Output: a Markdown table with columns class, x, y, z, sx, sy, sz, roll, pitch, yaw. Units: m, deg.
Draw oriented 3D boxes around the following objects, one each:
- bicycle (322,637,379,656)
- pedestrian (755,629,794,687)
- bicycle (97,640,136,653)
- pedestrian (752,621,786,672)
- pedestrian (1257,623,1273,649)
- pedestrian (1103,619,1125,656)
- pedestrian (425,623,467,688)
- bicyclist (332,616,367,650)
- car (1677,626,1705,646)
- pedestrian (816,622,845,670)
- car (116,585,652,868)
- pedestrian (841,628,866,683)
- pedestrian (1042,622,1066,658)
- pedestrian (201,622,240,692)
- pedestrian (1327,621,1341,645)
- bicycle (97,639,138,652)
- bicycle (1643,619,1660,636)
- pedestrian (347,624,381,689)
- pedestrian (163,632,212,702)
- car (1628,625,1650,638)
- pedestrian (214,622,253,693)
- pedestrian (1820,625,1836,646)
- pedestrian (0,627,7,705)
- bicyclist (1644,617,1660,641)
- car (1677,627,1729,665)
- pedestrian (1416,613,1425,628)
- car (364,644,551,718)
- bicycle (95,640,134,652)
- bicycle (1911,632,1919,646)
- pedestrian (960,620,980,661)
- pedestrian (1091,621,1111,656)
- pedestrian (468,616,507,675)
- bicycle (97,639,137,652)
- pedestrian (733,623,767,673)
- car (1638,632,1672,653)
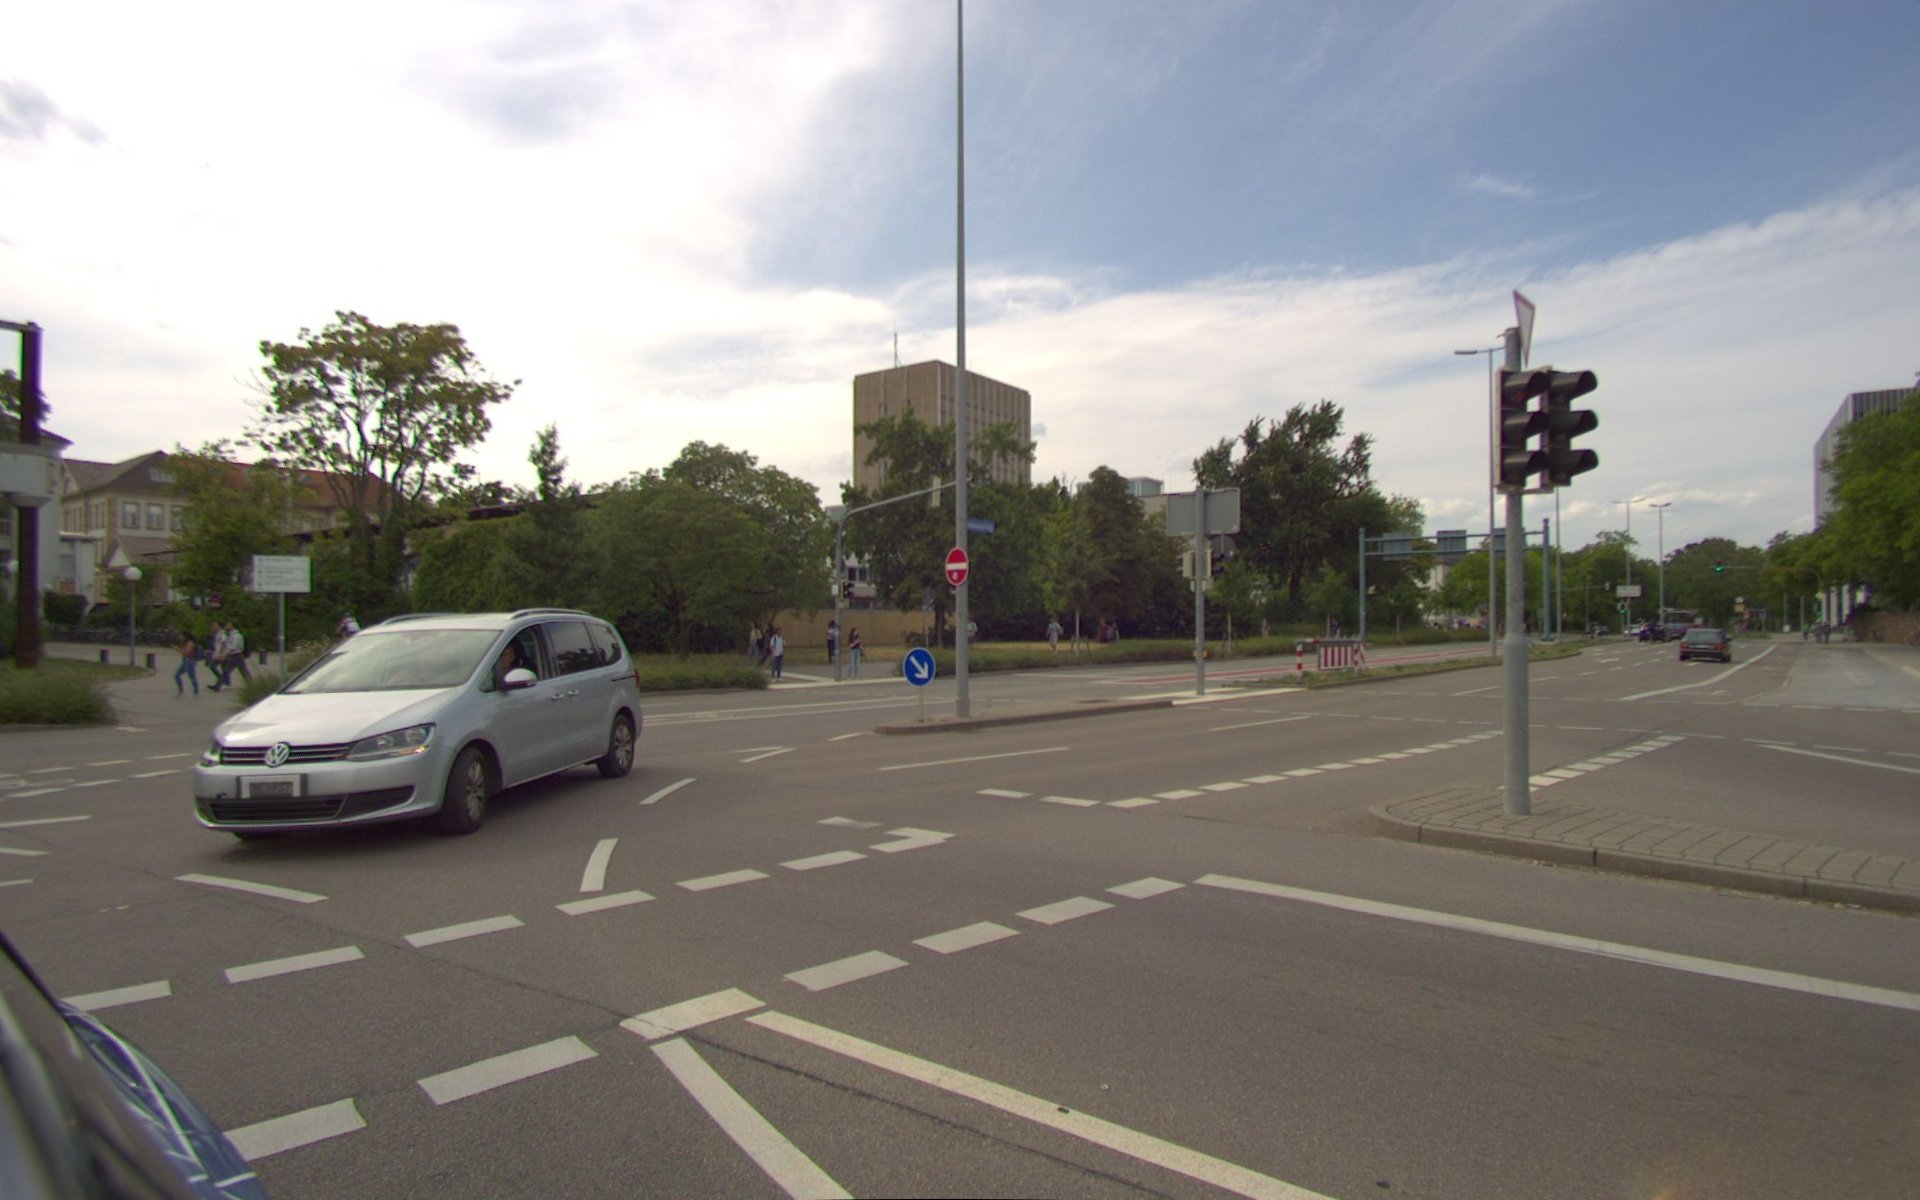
| class | x | y | z | sx | sy | sz | roll | pitch | yaw |
| --- | --- | --- | --- | --- | --- | --- | --- | --- | --- |
| bicycle | -23.987 | 1.832 | 39.863 | 1.813 | 0.699 | 0.846 | -1 | -3 | -20 |
| pedestrian | -5.670 | 1.779 | 30.980 | 0.827 | 1.724 | 0.800 | 0 | -3 | -44 |
| bicycle | -51.688 | 2.842 | 62.053 | 1.816 | 0.699 | 0.653 | 0 | -3 | -42 |
| pedestrian | -6.613 | 1.618 | 35.015 | 0.835 | 1.724 | 0.793 | -3 | -3 | 25 |
| pedestrian | 20.147 | 2.388 | 66.871 | 0.714 | 1.724 | 0.685 | -4 | -3 | 40 |
| pedestrian | 7.262 | 1.759 | 47.757 | 0.735 | 1.724 | 0.683 | -4 | -3 | 44 |
| pedestrian | -14.178 | 1.530 | 27.907 | 0.840 | 1.724 | 0.788 | -4 | -3 | 44 |
| bicyclist | -24.048 | 1.293 | 39.873 | 0.995 | 1.287 | 0.842 | -1 | -3 | -18 |
| car | 59.393 | 2.916 | 82.212 | 1.787 | 1.500 | 4.079 | 1 | 0 | 37 |
| pedestrian | -4.830 | 1.710 | 37.736 | 0.713 | 1.724 | 0.790 | -4 | -3 | 37 |
| car | -4.390 | 0.902 | 8.713 | 1.802 | 1.747 | 4.522 | -2 | -2 | 4 |
| pedestrian | -3.393 | 1.780 | 32.353 | 0.579 | 1.724 | 0.481 | 0 | -4 | -44 |
| pedestrian | 4.525 | 1.917 | 48.562 | 0.841 | 1.724 | 0.686 | -4 | -3 | 37 |
| pedestrian | -18.744 | 1.438 | 25.667 | 0.640 | 1.724 | 0.698 | -4 | -3 | 43 |
| pedestrian | 27.694 | 2.467 | 74.932 | 0.714 | 1.724 | 0.685 | -4 | -3 | 40 |
| bicycle | -49.436 | 2.652 | 59.401 | 1.816 | 0.699 | 0.653 | 0 | -3 | -42 |
| bicycle | 50.395 | 2.030 | 73.749 | 0.759 | 1.198 | 2.069 | 1 | -2 | 42 |
| pedestrian | -16.128 | 1.523 | 27.362 | 0.673 | 1.724 | 0.624 | -4 | -3 | 44 |
| pedestrian | -18.280 | 1.568 | 23.937 | 0.840 | 1.554 | 0.788 | 1 | 1 | 44 |
| car | 81.551 | 3.787 | 121.563 | 1.789 | 1.500 | 4.075 | 1 | 0 | 40 |
| pedestrian | -18.112 | 1.419 | 25.225 | 0.640 | 1.724 | 0.698 | -4 | -3 | 43 |
| pedestrian | 68.804 | 2.820 | 80.217 | 0.753 | 1.634 | 0.658 | -4 | -3 | 35 |
| pedestrian | -21.718 | 1.477 | 22.518 | 0.640 | 1.724 | 0.698 | 1 | 0 | 44 |
| bicyclist | 50.365 | 2.090 | 73.655 | 0.778 | 1.724 | 1.070 | 1 | -2 | 43 |
| car | 32.753 | 2.011 | 44.691 | 1.697 | 1.491 | 4.363 | -4 | -3 | 35 |
| pedestrian | 54.987 | 2.482 | 120.849 | 0.769 | 1.724 | 0.685 | -4 | -3 | 40 |
| car | -11.142 | 1.758 | 22.530 | 3.404 | 1.426 | 1.673 | 0 | -3 | -42 |
| bicycle | -51.119 | 2.772 | 61.192 | 1.816 | 0.699 | 0.653 | 0 | -3 | -42 |
| bicycle | 63.341 | 2.540 | 66.748 | 0.431 | 0.894 | 1.560 | -5 | -4 | 29 |
| pedestrian | 0.441 | 1.740 | 43.739 | 0.543 | 1.709 | 0.686 | 0 | -1 | 37 |
| pedestrian | 7.199 | 1.969 | 51.564 | 0.714 | 1.724 | 0.685 | -4 | -3 | 40 |
| pedestrian | -14.187 | 1.355 | 30.398 | 0.840 | 1.724 | 0.788 | -4 | -3 | 44 |
| bicycle | -50.459 | 2.738 | 60.583 | 1.816 | 0.699 | 0.653 | 0 | -3 | -42 |
| pedestrian | -7.367 | 1.673 | 35.495 | 0.835 | 1.724 | 0.793 | -3 | -3 | 25 |
| car | 54.138 | 3.295 | 78.814 | 1.789 | 1.500 | 4.075 | 1 | 0 | 40 |
